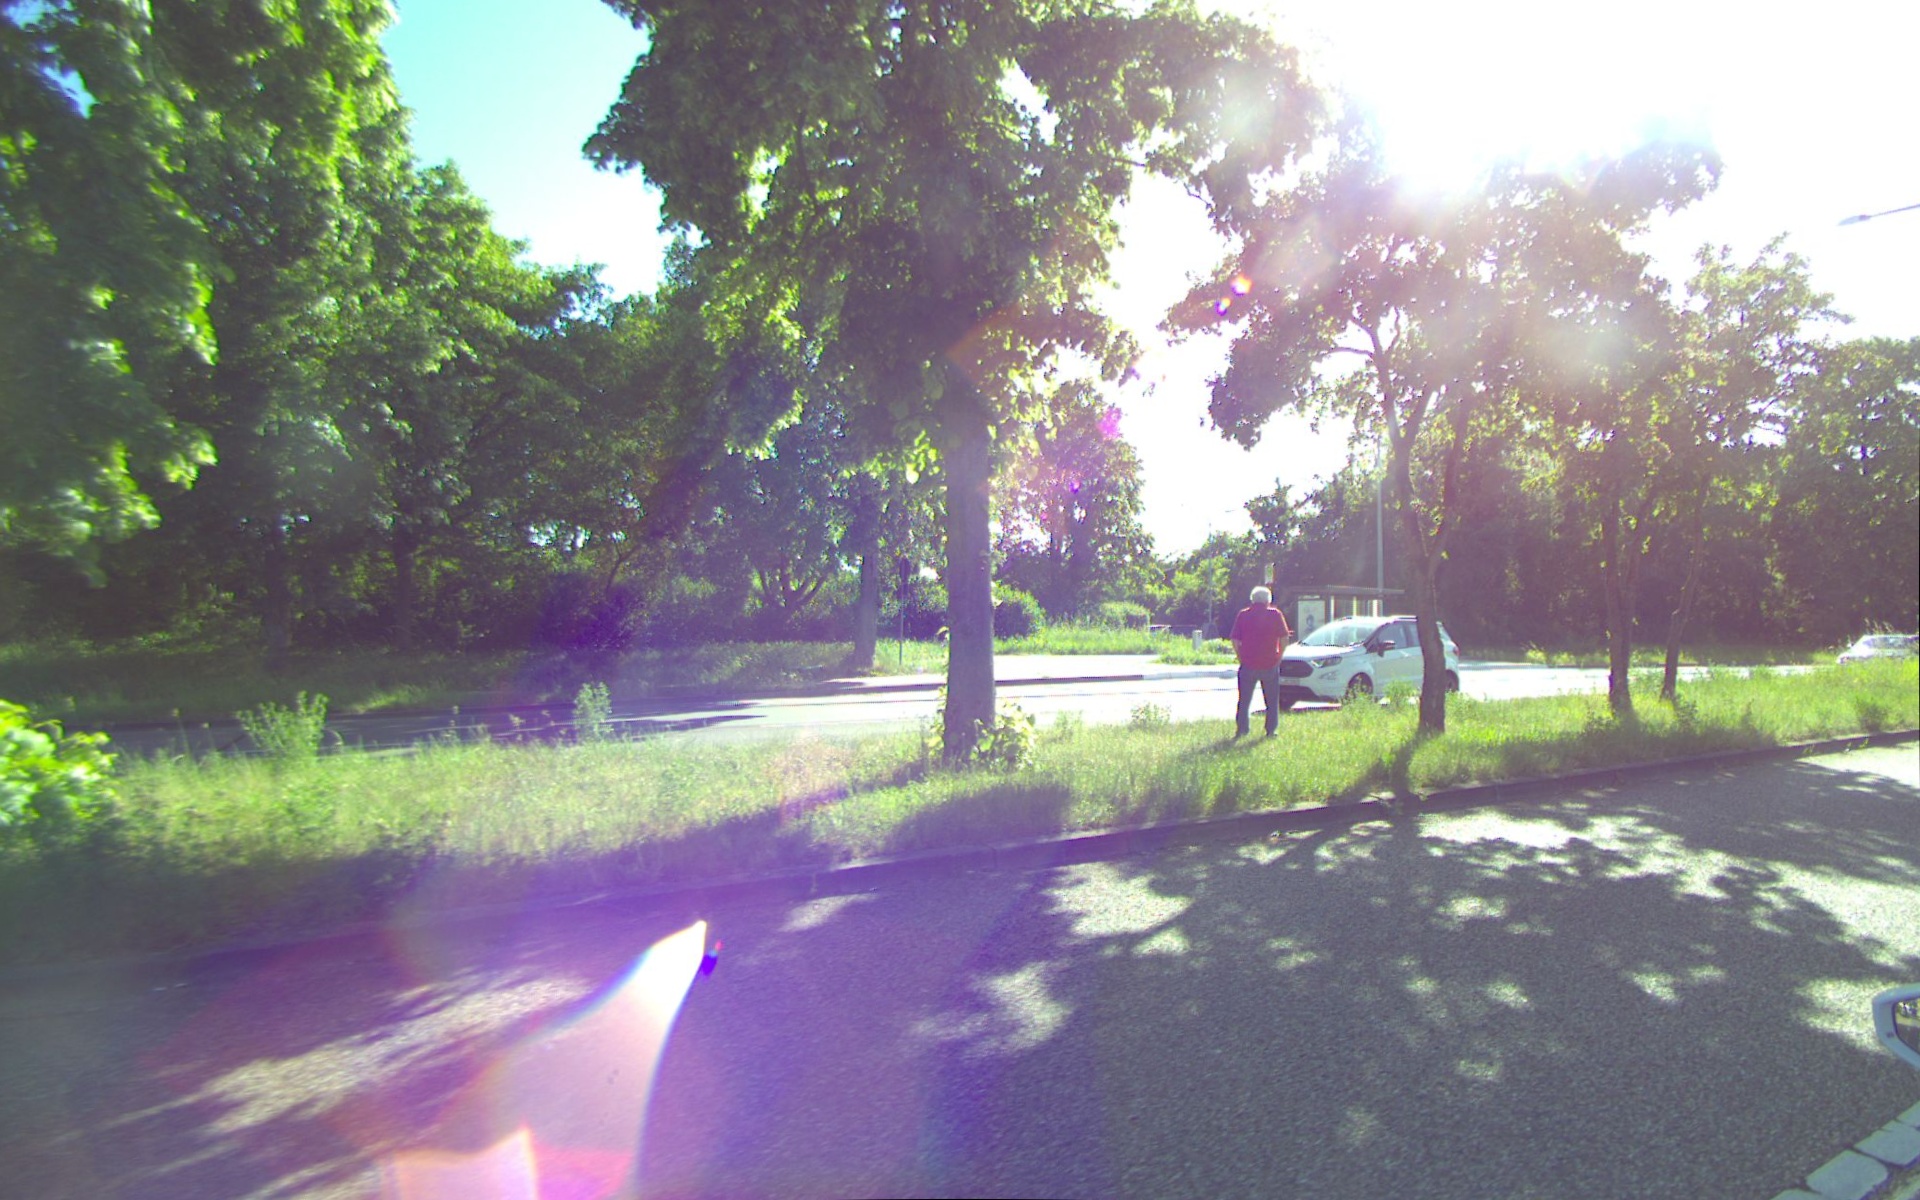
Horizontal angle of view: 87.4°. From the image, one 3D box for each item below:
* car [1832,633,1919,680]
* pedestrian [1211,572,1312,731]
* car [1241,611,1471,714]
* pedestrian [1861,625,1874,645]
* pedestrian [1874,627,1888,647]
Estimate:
[{"bbox_3d":[30.193,1.769,32.435,4.924,1.379,1.772,1,-1,-32],"label":"car"},{"bbox_3d":[3.334,0.560,11.162,0.924,1.719,0.632,0,0,-1],"label":"pedestrian"},{"bbox_3d":[7.135,1.057,18.002,4.151,1.653,1.721,1,-2,-32],"label":"car"},{"bbox_3d":[67.309,2.616,74.495,0.589,1.479,0.541,1,-1,-32],"label":"pedestrian"},{"bbox_3d":[67.730,2.708,73.844,0.907,1.479,0.541,1,-1,-32],"label":"pedestrian"}]
